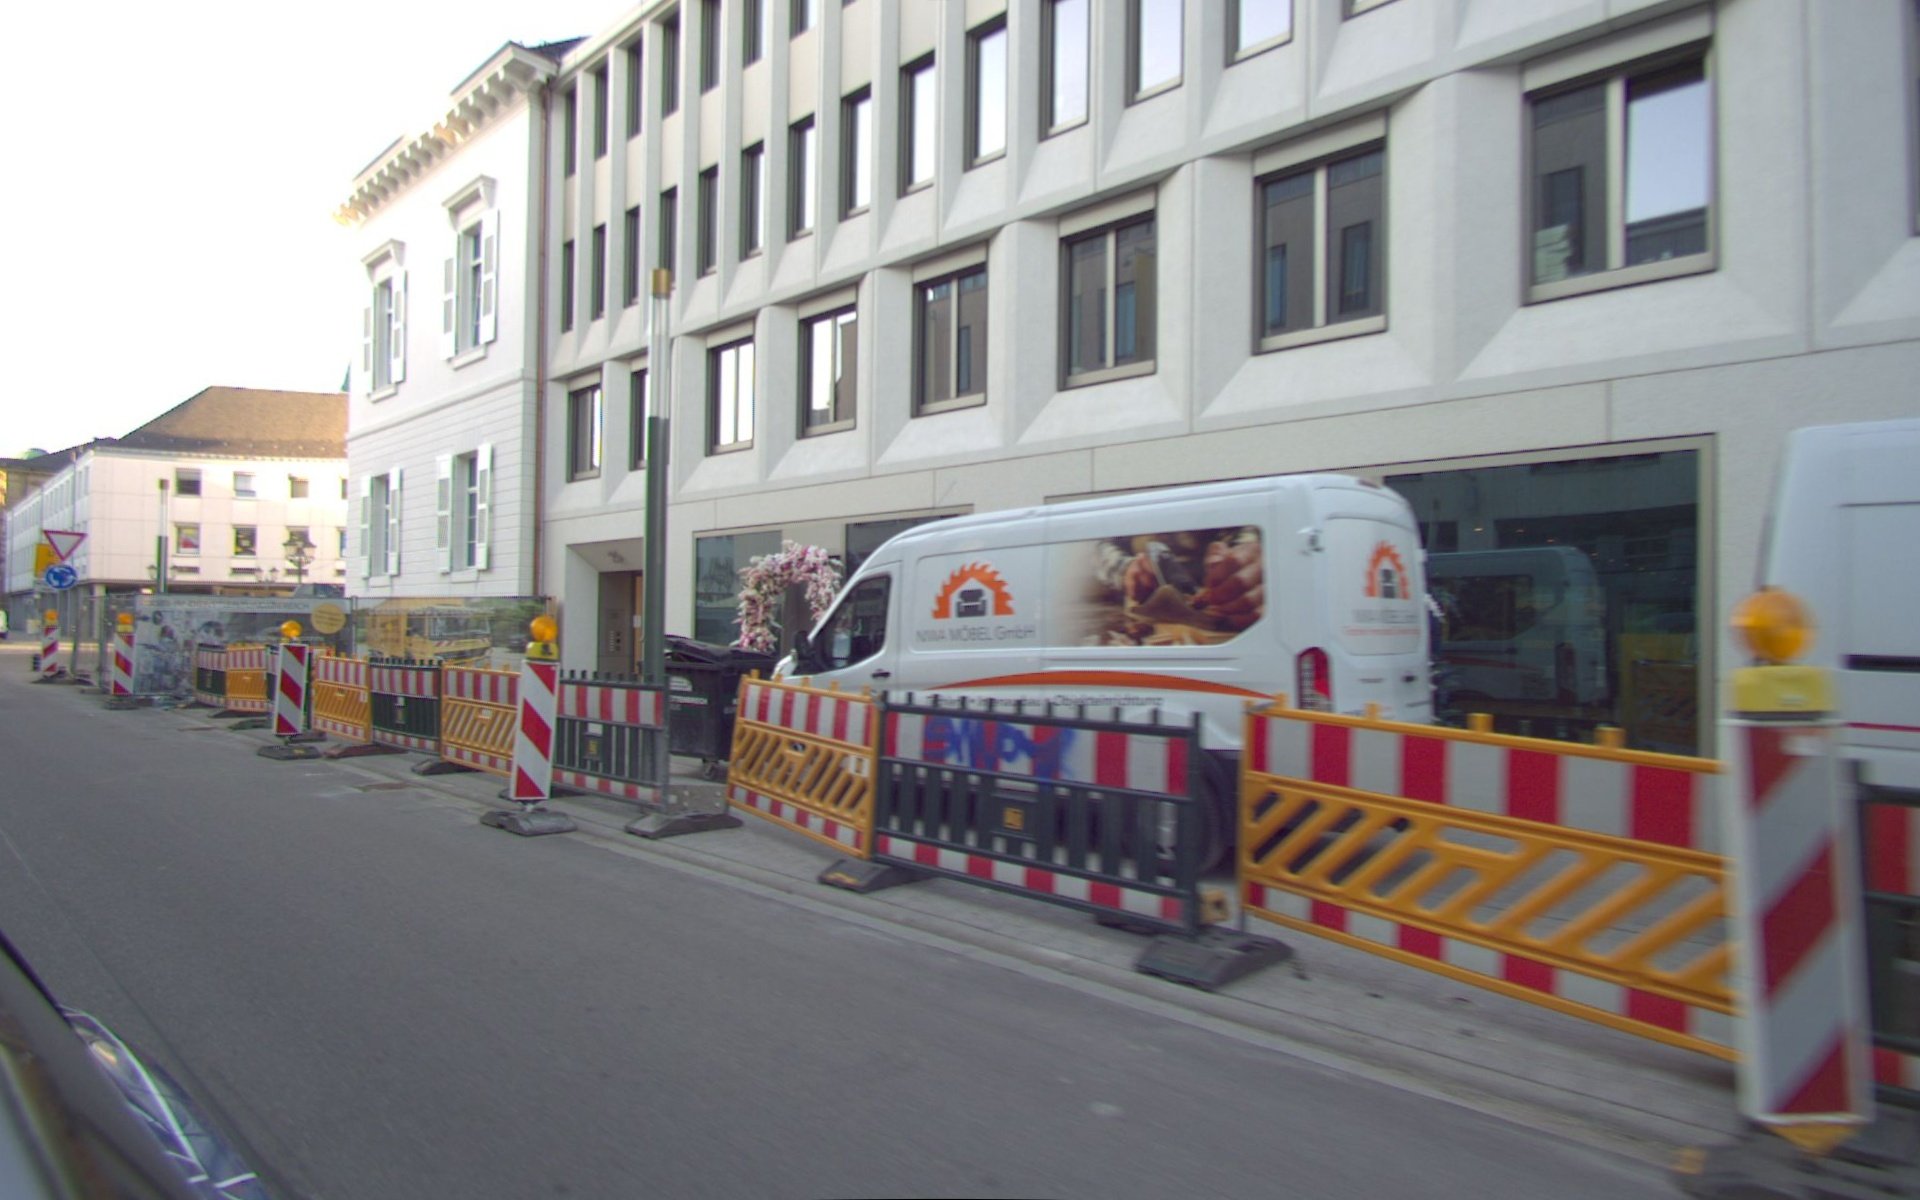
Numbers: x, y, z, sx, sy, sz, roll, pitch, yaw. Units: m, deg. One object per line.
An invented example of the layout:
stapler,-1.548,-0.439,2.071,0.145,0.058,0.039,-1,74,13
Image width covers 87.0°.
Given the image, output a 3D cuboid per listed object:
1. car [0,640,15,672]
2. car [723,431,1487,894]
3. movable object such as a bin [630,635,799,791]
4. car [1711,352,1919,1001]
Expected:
car,-61.483,3.499,63.732,4.450,1.839,1.998,0,-1,36
car,0.738,0.350,8.267,5.998,2.489,2.150,0,-1,42
movable object such as a bin,-2.589,1.137,10.710,1.388,1.477,1.036,1,-1,30
car,6.141,0.319,3.125,5.997,2.489,2.150,0,-1,42
